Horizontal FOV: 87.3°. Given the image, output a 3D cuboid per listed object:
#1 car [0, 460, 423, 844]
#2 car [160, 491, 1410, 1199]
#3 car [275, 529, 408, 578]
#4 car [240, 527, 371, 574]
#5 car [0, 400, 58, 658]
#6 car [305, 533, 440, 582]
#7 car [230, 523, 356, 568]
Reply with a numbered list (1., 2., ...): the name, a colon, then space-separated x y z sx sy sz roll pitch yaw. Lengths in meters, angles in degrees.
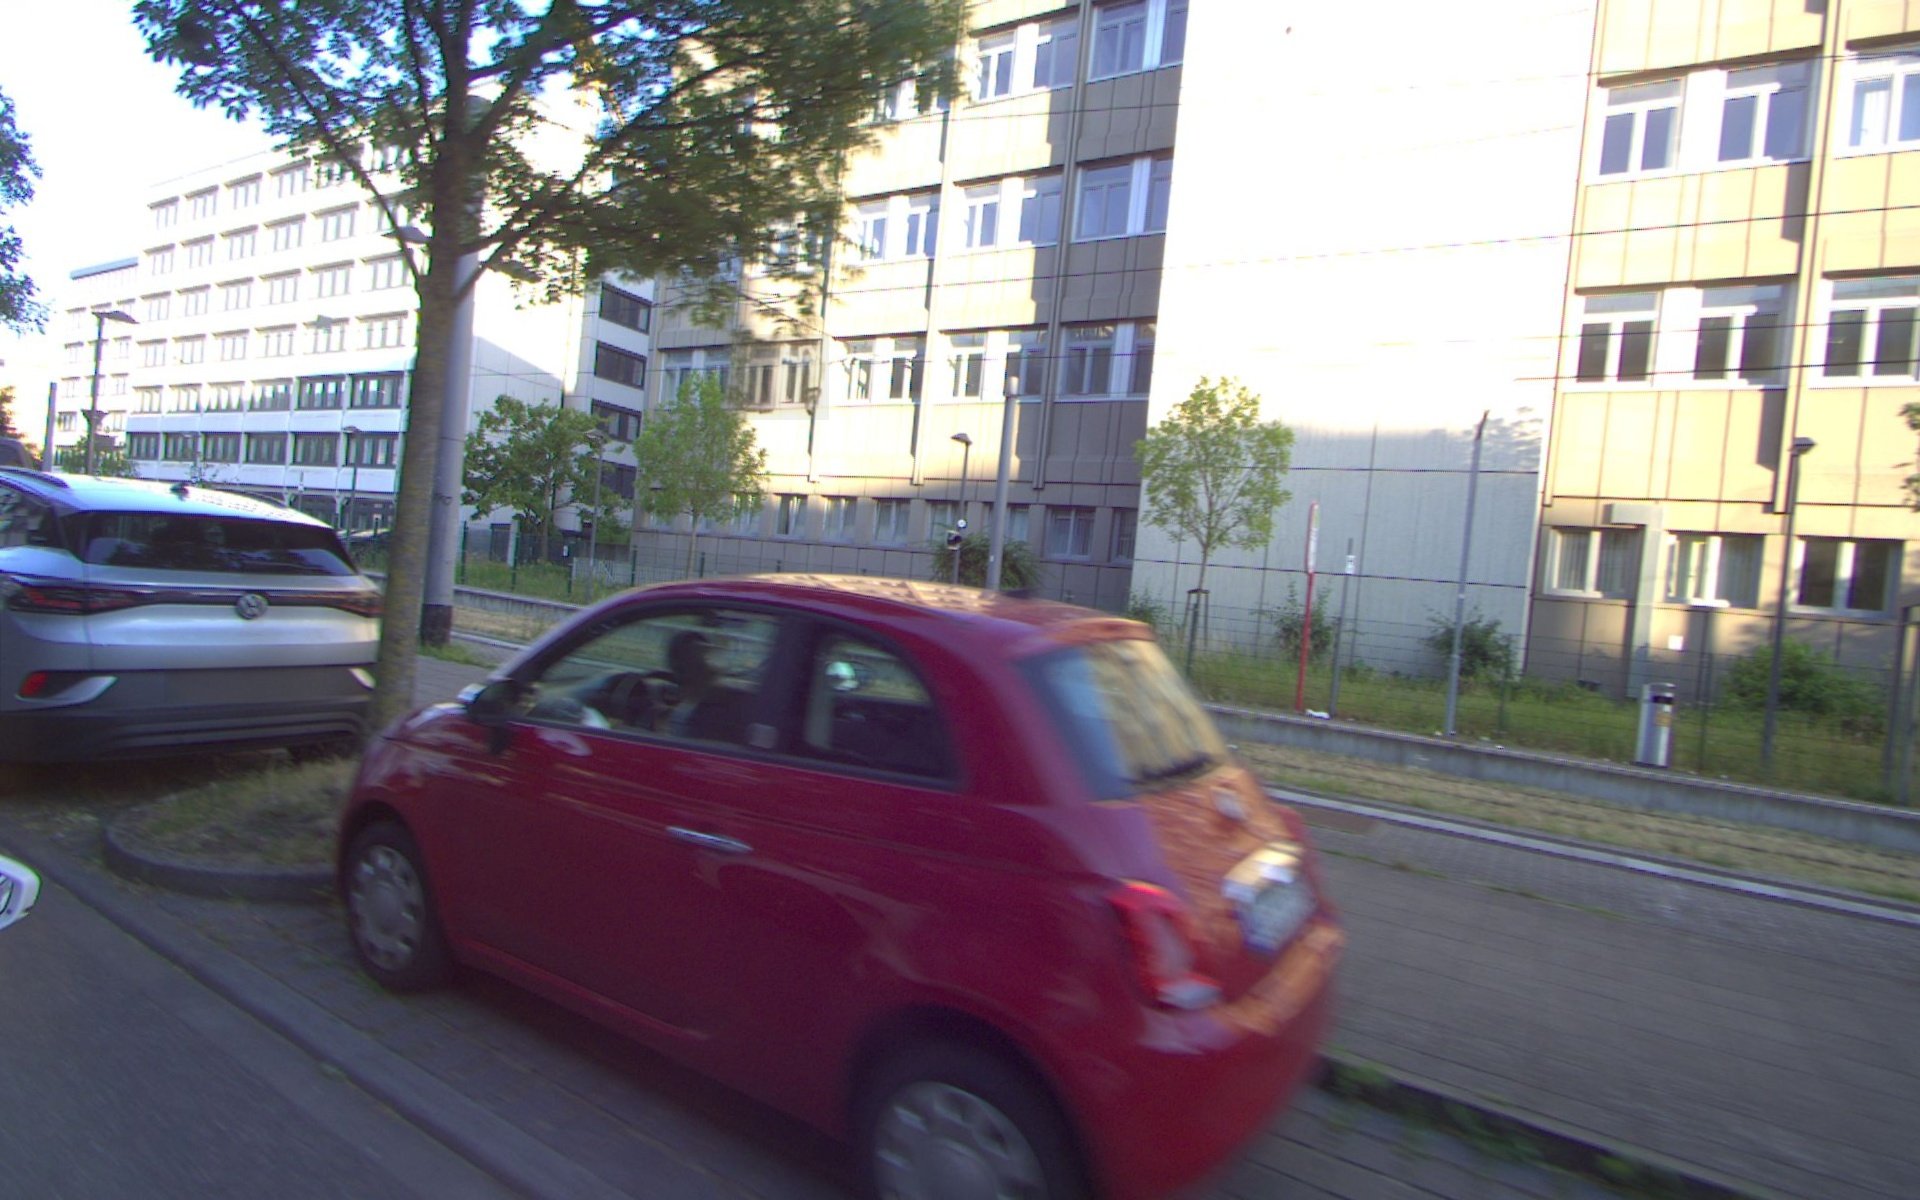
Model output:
1. car: -5.342 0.063 6.094 4.406 1.601 1.707 6 2 33
2. car: -0.814 0.547 3.489 4.061 1.513 1.708 6 2 31
3. car: -23.705 -1.755 38.679 1.648 1.507 3.987 6 2 32
4. car: -25.785 -1.914 39.738 1.648 1.507 3.987 6 2 32
5. car: -10.484 -0.819 9.328 4.656 2.205 1.805 6 2 31
6. car: -21.738 -1.549 37.379 1.648 1.507 3.987 6 2 32
7. car: -27.513 -2.211 41.583 1.648 1.507 3.987 6 2 32
